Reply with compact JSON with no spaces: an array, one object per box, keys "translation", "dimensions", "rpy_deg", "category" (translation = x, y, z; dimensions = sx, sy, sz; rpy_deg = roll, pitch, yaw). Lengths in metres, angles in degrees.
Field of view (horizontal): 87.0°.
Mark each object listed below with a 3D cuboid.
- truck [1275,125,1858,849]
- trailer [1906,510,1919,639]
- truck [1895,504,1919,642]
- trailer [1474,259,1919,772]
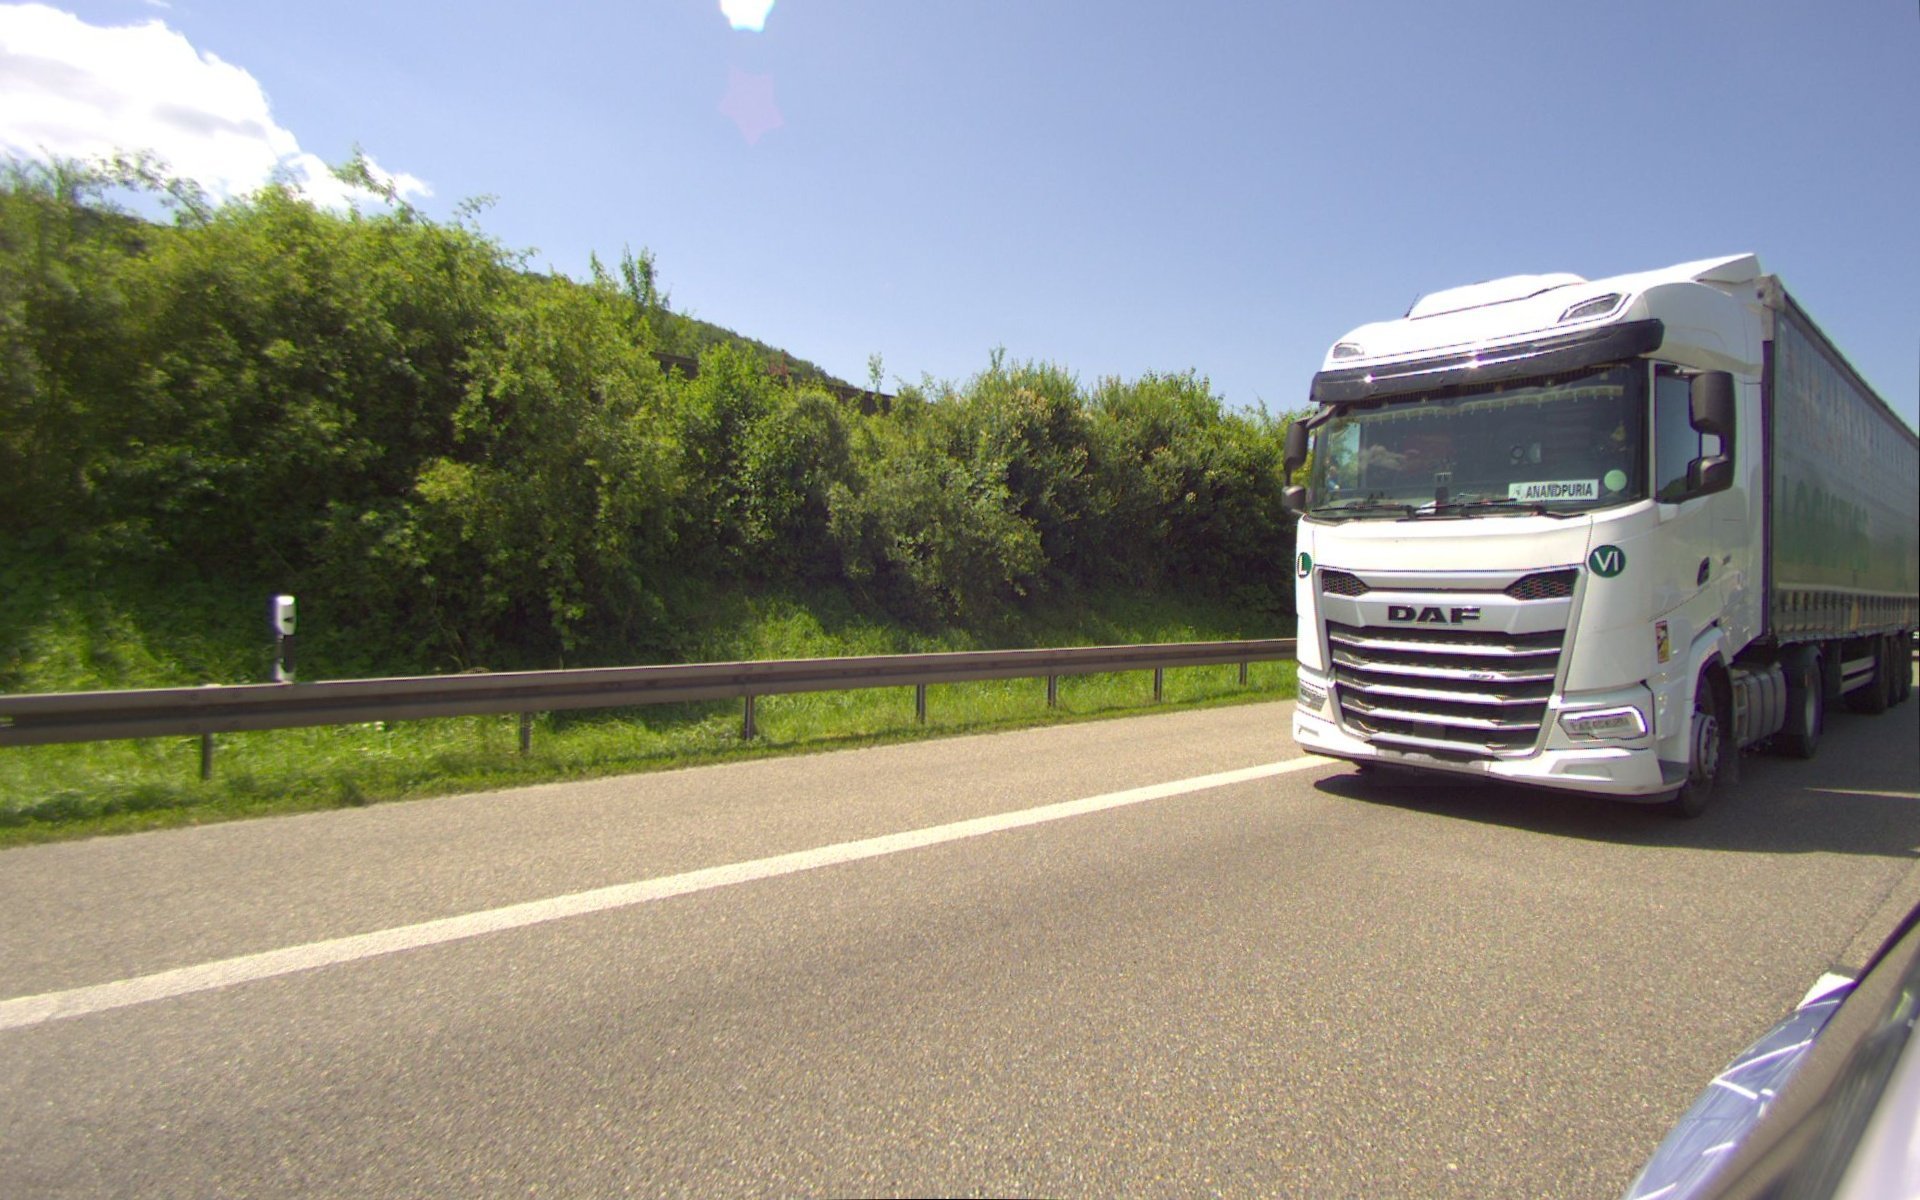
[{"translation":[5.517,-0.664,8.659],"dimensions":[6.270,4.027,2.482],"rpy_deg":[0,1,-42],"category":"truck"},{"translation":[36.600,-0.905,36.584],"dimensions":[13.398,4.160,2.540],"rpy_deg":[-1,1,-43],"category":"trailer"},{"translation":[31.512,-0.839,31.894],"dimensions":[5.977,4.140,2.528],"rpy_deg":[-1,0,-43],"category":"truck"},{"translation":[10.839,-0.711,13.356],"dimensions":[13.419,4.027,2.482],"rpy_deg":[0,1,-42],"category":"trailer"}]
